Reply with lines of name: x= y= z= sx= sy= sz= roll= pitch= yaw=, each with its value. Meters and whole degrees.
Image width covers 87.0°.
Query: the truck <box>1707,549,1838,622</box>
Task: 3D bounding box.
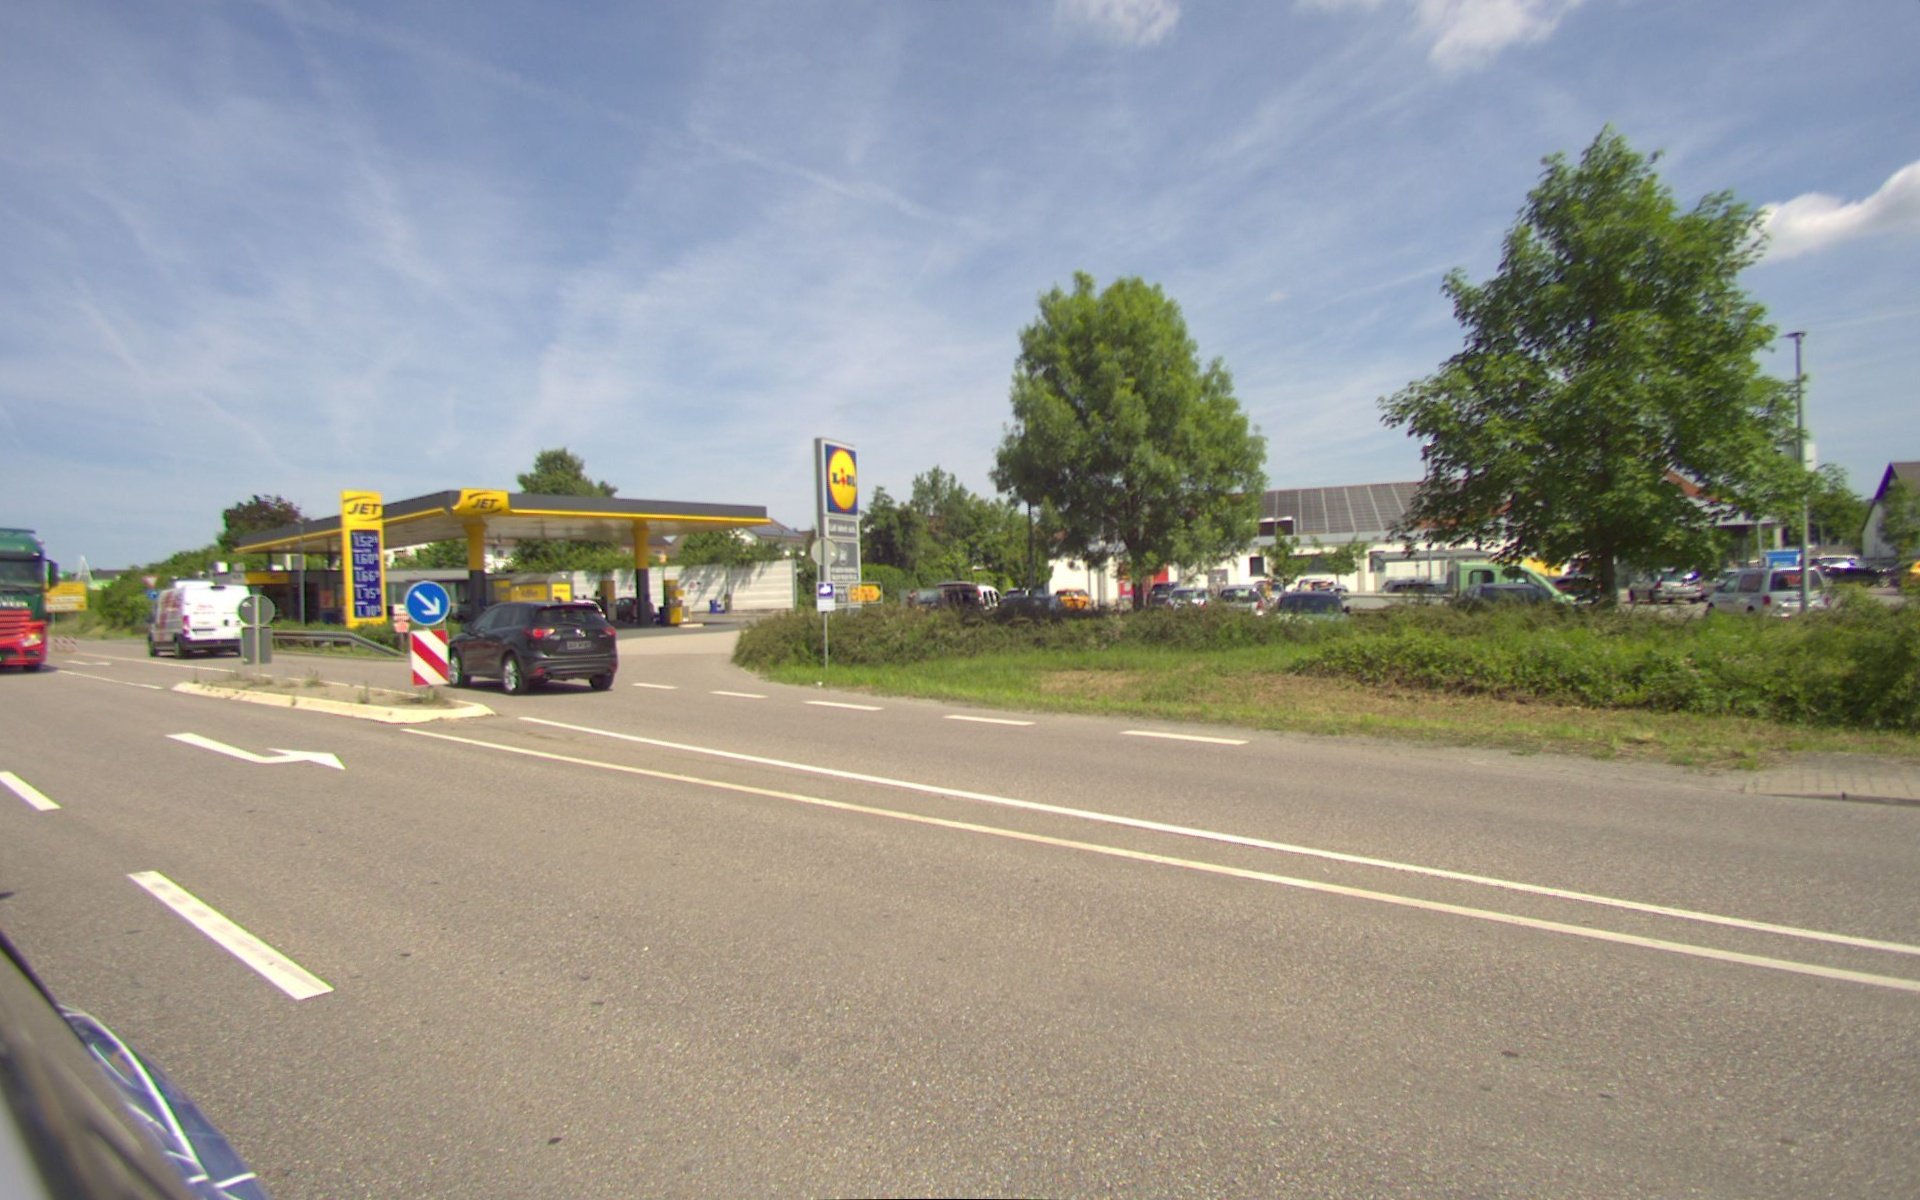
truck: x=27.869 y=-0.473 z=34.885 sx=1.981 sy=2.383 sz=3.982 roll=-1 pitch=0 yaw=14

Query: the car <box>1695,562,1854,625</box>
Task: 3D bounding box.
car: x=24.215 y=-0.171 z=30.324 sx=1.981 sy=1.708 sz=4.408 roll=-1 pitch=0 yaw=14

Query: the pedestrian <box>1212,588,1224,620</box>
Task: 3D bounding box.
pedestrian: x=12.420 y=0.192 z=48.704 sx=0.502 sy=1.564 sz=0.514 roll=-1 pitch=0 yaw=18

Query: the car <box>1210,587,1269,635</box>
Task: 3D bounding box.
car: x=9.879 y=0.355 z=35.595 sx=1.769 sy=1.513 sz=4.122 roll=-1 pitch=1 yaw=18

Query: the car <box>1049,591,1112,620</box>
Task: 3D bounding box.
car: x=6.510 y=0.269 z=54.310 sx=1.879 sy=1.453 sz=3.958 roll=-1 pitch=1 yaw=31

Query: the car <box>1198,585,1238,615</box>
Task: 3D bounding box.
car: x=13.309 y=-0.039 z=52.228 sx=1.868 sy=1.453 sz=3.981 roll=-1 pitch=1 yaw=15

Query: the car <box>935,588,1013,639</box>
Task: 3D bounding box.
car: x=0.588 y=0.475 z=38.719 sx=1.865 sy=1.825 sz=4.145 roll=-1 pitch=0 yaw=17

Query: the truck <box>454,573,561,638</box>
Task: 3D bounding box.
truck: x=-22.111 y=0.257 z=49.312 sx=6.278 sy=2.944 sz=2.222 roll=0 pitch=0 yaw=40

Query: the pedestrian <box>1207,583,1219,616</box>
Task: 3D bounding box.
pedestrian: x=12.076 y=-0.008 z=48.239 sx=0.502 sy=1.564 sz=0.514 roll=-1 pitch=0 yaw=18

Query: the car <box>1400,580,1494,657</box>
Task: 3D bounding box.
car: x=11.418 y=0.392 z=23.941 sx=1.683 sy=1.670 sz=3.971 roll=0 pitch=0 yaw=22

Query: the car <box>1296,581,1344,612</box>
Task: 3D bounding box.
car: x=17.952 y=-0.182 z=50.564 sx=1.868 sy=1.453 sz=3.981 roll=-1 pitch=1 yaw=15

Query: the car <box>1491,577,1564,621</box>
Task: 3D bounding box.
car: x=20.582 y=-0.039 z=36.854 sx=1.767 sy=1.540 sz=3.972 roll=0 pitch=0 yaw=21

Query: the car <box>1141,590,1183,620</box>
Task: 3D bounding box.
car: x=10.464 y=0.217 z=52.287 sx=1.868 sy=1.453 sz=3.981 roll=-1 pitch=1 yaw=15

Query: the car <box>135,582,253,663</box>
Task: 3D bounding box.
car: x=-27.535 y=0.797 z=36.290 sx=5.981 sy=2.674 sz=2.096 roll=-2 pitch=0 yaw=40

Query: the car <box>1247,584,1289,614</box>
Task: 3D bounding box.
car: x=15.547 y=-0.066 z=51.260 sx=1.868 sy=1.453 sz=3.981 roll=-1 pitch=1 yaw=15

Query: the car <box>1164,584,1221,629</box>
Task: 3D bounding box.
car: x=9.334 y=0.225 z=40.478 sx=1.850 sy=1.688 sz=4.399 roll=-1 pitch=0 yaw=17

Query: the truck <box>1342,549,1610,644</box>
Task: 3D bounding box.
truck: x=14.026 y=-0.044 z=28.078 sx=6.301 sy=2.393 sz=2.234 roll=-1 pitch=-1 yaw=20

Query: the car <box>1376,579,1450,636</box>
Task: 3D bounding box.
car: x=14.662 y=0.198 z=32.935 sx=1.898 sy=1.687 sz=3.974 roll=-1 pitch=1 yaw=20

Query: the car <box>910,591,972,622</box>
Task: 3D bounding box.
car: x=-1.014 y=0.329 z=55.528 sx=1.760 sy=1.551 sz=3.966 roll=-2 pitch=0 yaw=25

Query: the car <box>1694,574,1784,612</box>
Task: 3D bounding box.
car: x=33.912 y=-0.297 z=44.213 sx=1.865 sy=1.553 sz=4.231 roll=0 pitch=0 yaw=20

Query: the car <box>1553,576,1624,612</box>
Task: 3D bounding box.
car: x=28.463 y=-0.251 z=45.990 sx=1.865 sy=1.553 sz=4.231 roll=0 pitch=0 yaw=20

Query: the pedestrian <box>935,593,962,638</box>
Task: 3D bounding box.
pedestrian: x=-0.417 y=0.547 z=36.136 sx=0.801 sy=1.587 sz=0.701 roll=-1 pitch=0 yaw=13

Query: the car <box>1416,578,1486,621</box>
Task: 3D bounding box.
car: x=18.327 y=-0.021 z=37.928 sx=1.764 sy=1.540 sz=3.977 roll=0 pitch=0 yaw=17

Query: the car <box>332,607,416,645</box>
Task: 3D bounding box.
car: x=-27.727 y=1.247 z=47.825 sx=4.258 sy=1.719 sz=1.975 roll=-2 pitch=-1 yaw=38

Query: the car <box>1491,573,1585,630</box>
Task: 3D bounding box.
car: x=18.207 y=0.044 z=32.053 sx=1.912 sy=1.701 sz=3.973 roll=0 pitch=0 yaw=20

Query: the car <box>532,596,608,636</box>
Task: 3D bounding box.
car: x=-17.769 y=0.773 z=46.073 sx=4.001 sy=1.741 sz=1.713 roll=-2 pitch=-3 yaw=44

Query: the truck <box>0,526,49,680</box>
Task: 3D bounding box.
truck: x=-28.642 y=0.158 z=28.893 sx=10.042 sy=3.950 sz=2.641 roll=-1 pitch=-1 yaw=40

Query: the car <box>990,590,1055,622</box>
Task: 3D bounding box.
car: x=3.419 y=0.293 z=54.501 sx=1.765 sy=1.551 sz=3.956 roll=-2 pitch=0 yaw=33

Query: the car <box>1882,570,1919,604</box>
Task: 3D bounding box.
car: x=45.120 y=-0.616 z=46.086 sx=4.223 sy=1.553 sz=1.869 roll=0 pitch=0 yaw=18

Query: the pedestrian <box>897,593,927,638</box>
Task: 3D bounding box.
pedestrian: x=-1.728 y=0.560 z=36.140 sx=0.693 sy=1.587 sz=0.810 roll=0 pitch=-1 yaw=-41

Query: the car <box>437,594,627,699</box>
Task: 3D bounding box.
car: x=-8.109 y=0.778 z=19.004 sx=4.112 sy=1.763 sz=1.845 roll=0 pitch=0 yaw=44

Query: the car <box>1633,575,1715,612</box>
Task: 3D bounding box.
car: x=31.497 y=-0.293 z=44.758 sx=1.865 sy=1.553 sz=4.231 roll=0 pitch=0 yaw=20

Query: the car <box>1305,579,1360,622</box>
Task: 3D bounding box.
car: x=14.270 y=0.013 z=38.933 sx=1.764 sy=1.540 sz=3.977 roll=0 pitch=0 yaw=17

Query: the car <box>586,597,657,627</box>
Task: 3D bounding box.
car: x=-19.327 y=0.671 z=57.764 sx=3.862 sy=1.625 sz=1.735 roll=-2 pitch=-1 yaw=31
